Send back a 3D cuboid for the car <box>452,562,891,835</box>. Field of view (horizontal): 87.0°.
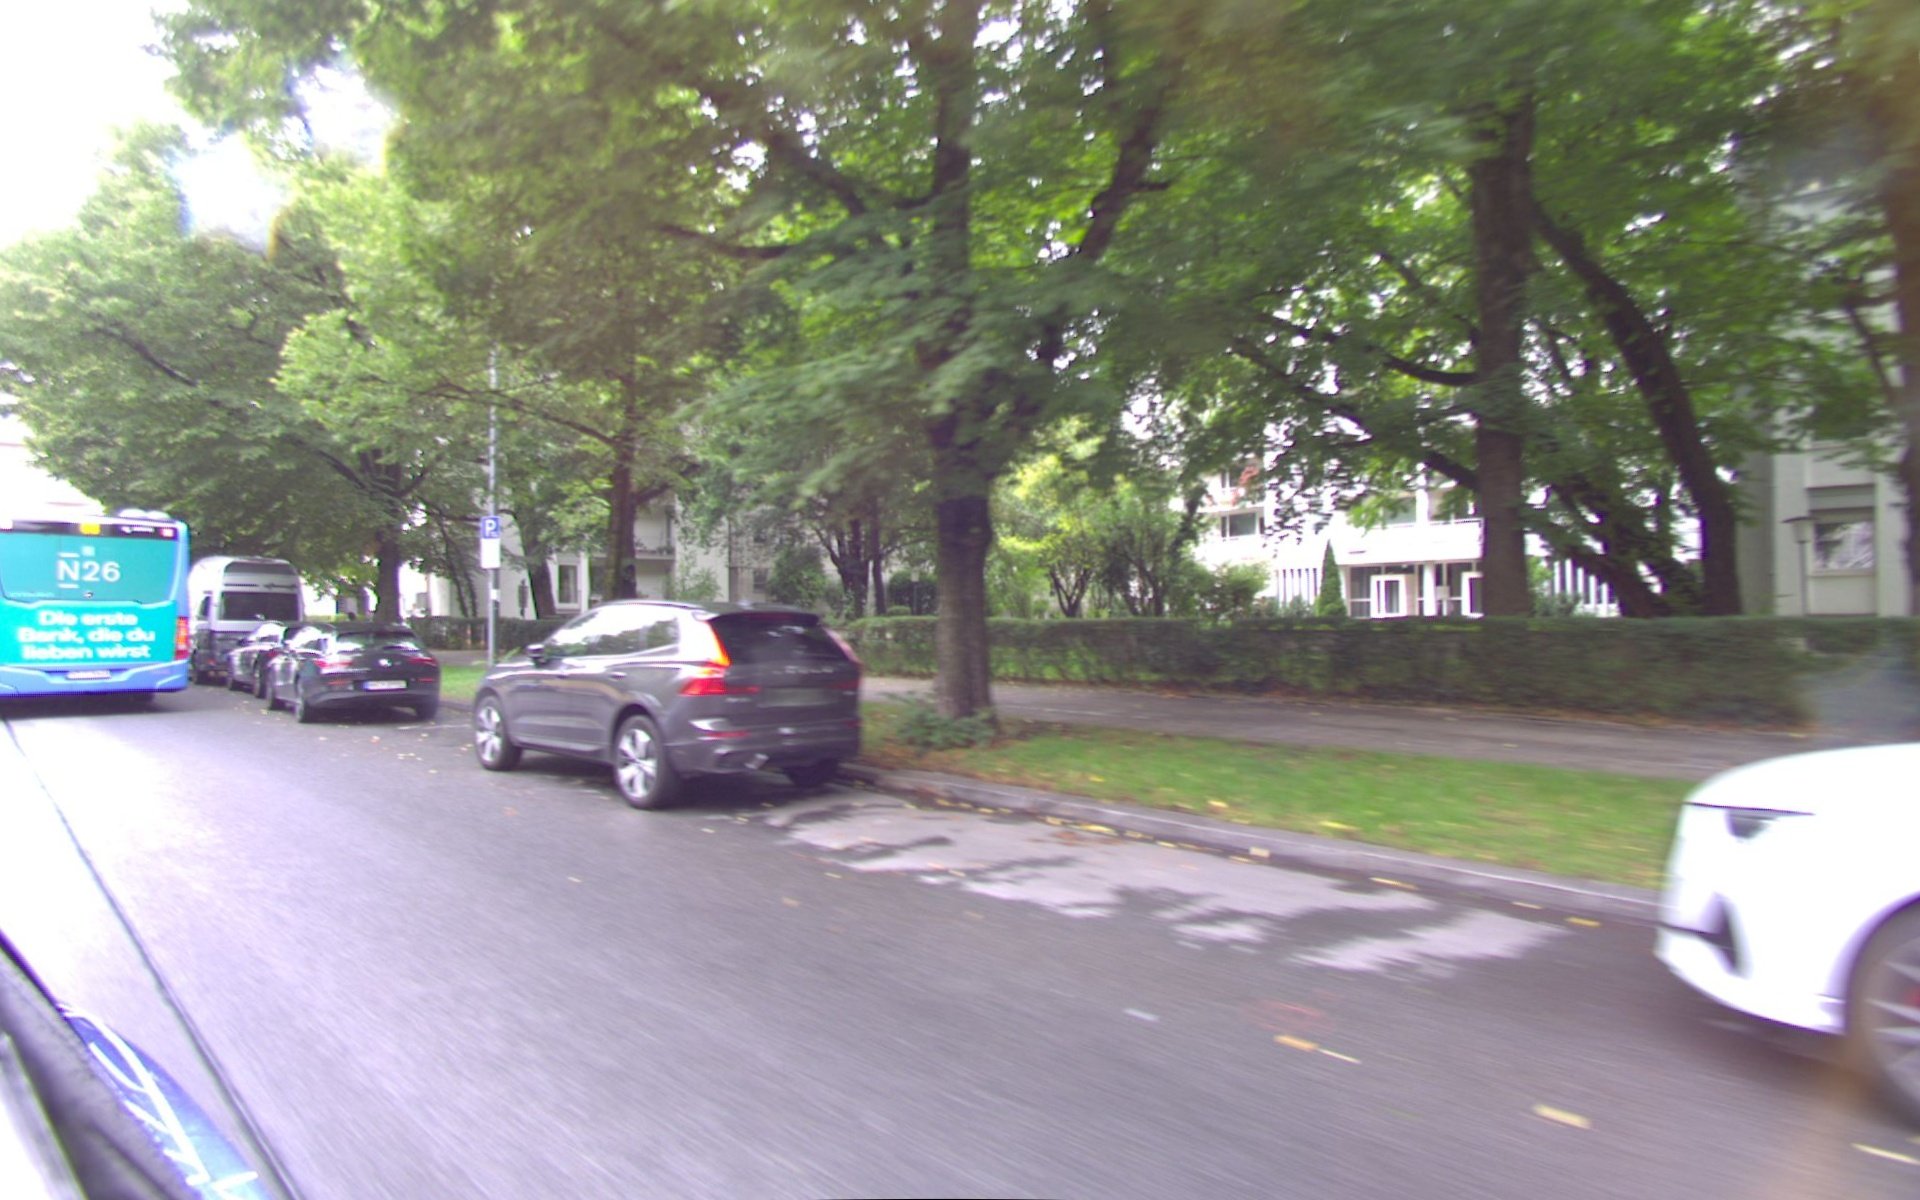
[{"bbox_3d":[-2.831,0.722,9.243,4.548,1.891,1.764,-1,-2,43],"label":"car"}]

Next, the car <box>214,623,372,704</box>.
[{"bbox_3d":[-13.422,1.202,20.249,1.769,1.449,4.581,1,-2,-45],"label":"car"}]

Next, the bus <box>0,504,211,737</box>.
[{"bbox_3d":[-19.420,0.297,21.331,18.431,3.263,2.827,0,-1,44],"label":"bus"}]

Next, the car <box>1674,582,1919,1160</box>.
[{"bbox_3d":[4.535,0.749,2.286,4.585,1.609,1.764,-1,-1,43],"label":"car"}]

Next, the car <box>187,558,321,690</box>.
[{"bbox_3d":[-17.572,0.536,25.029,1.921,2.876,6.244,1,-1,-42],"label":"car"}]

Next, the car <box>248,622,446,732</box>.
[{"bbox_3d":[-9.633,1.099,15.721,1.768,1.449,4.556,1,-2,-42],"label":"car"}]
